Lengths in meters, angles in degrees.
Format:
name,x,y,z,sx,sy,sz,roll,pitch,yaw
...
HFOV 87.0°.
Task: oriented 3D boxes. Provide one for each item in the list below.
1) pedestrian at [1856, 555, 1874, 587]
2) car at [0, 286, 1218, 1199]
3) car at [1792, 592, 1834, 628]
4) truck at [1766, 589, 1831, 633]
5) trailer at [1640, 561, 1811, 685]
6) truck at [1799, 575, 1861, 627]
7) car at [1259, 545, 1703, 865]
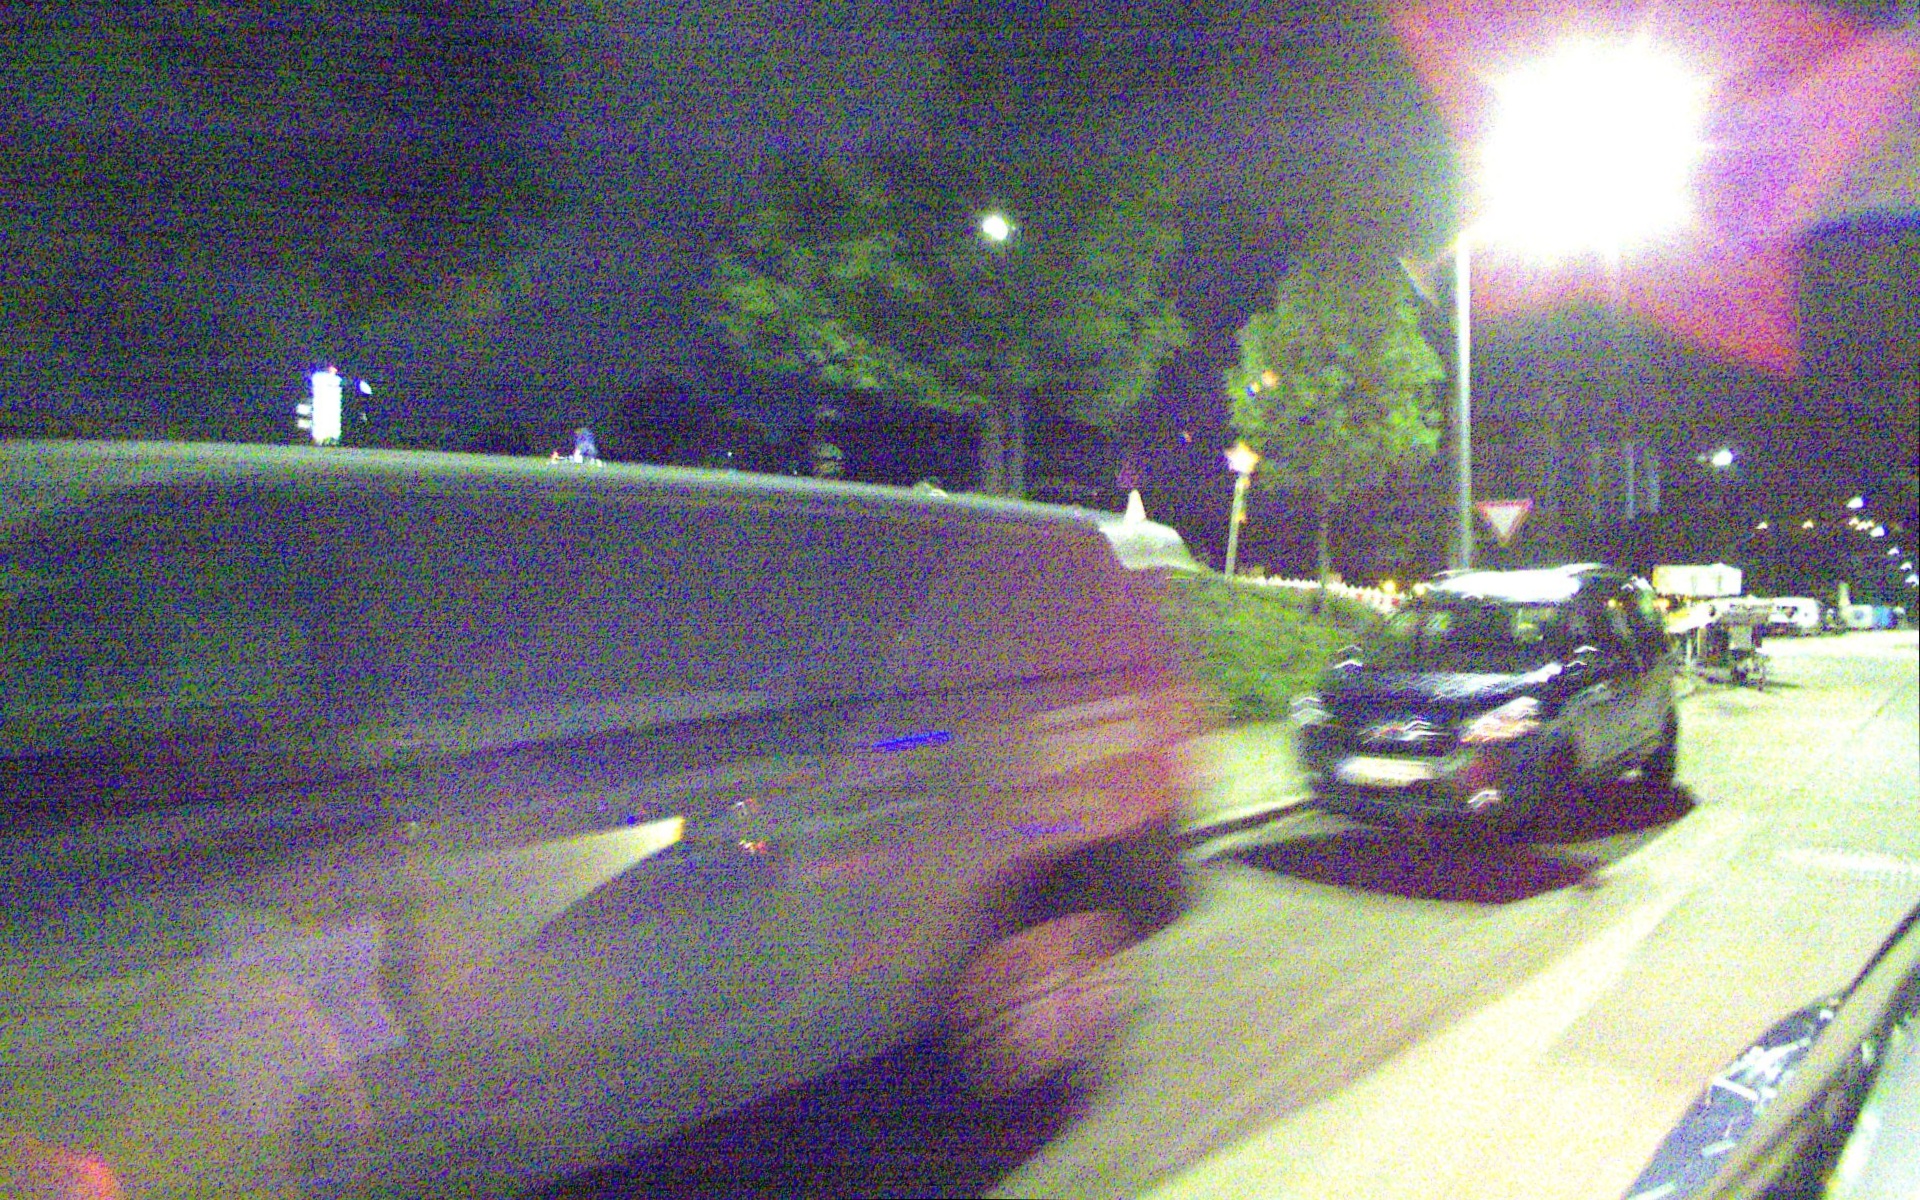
name,x,y,z,sx,sy,sz,roll,pitch,yaw
pedestrian,133.569,-4.261,149.385,2.263,4.766,1.741,0,0,-43
car,-1.694,0.539,2.716,5.260,2.039,1.997,1,-1,-41
car,58.848,0.672,69.803,3.934,2.417,1.860,0,0,-44
truck,52.762,0.640,63.655,6.298,2.603,2.402,0,1,-43
trailer,14.341,0.363,19.247,1.479,2.039,4.944,0,0,24
truck,65.277,0.022,75.830,3.048,3.669,9.449,0,0,44
car,4.205,0.587,7.822,4.244,1.802,1.730,-1,-1,-44
